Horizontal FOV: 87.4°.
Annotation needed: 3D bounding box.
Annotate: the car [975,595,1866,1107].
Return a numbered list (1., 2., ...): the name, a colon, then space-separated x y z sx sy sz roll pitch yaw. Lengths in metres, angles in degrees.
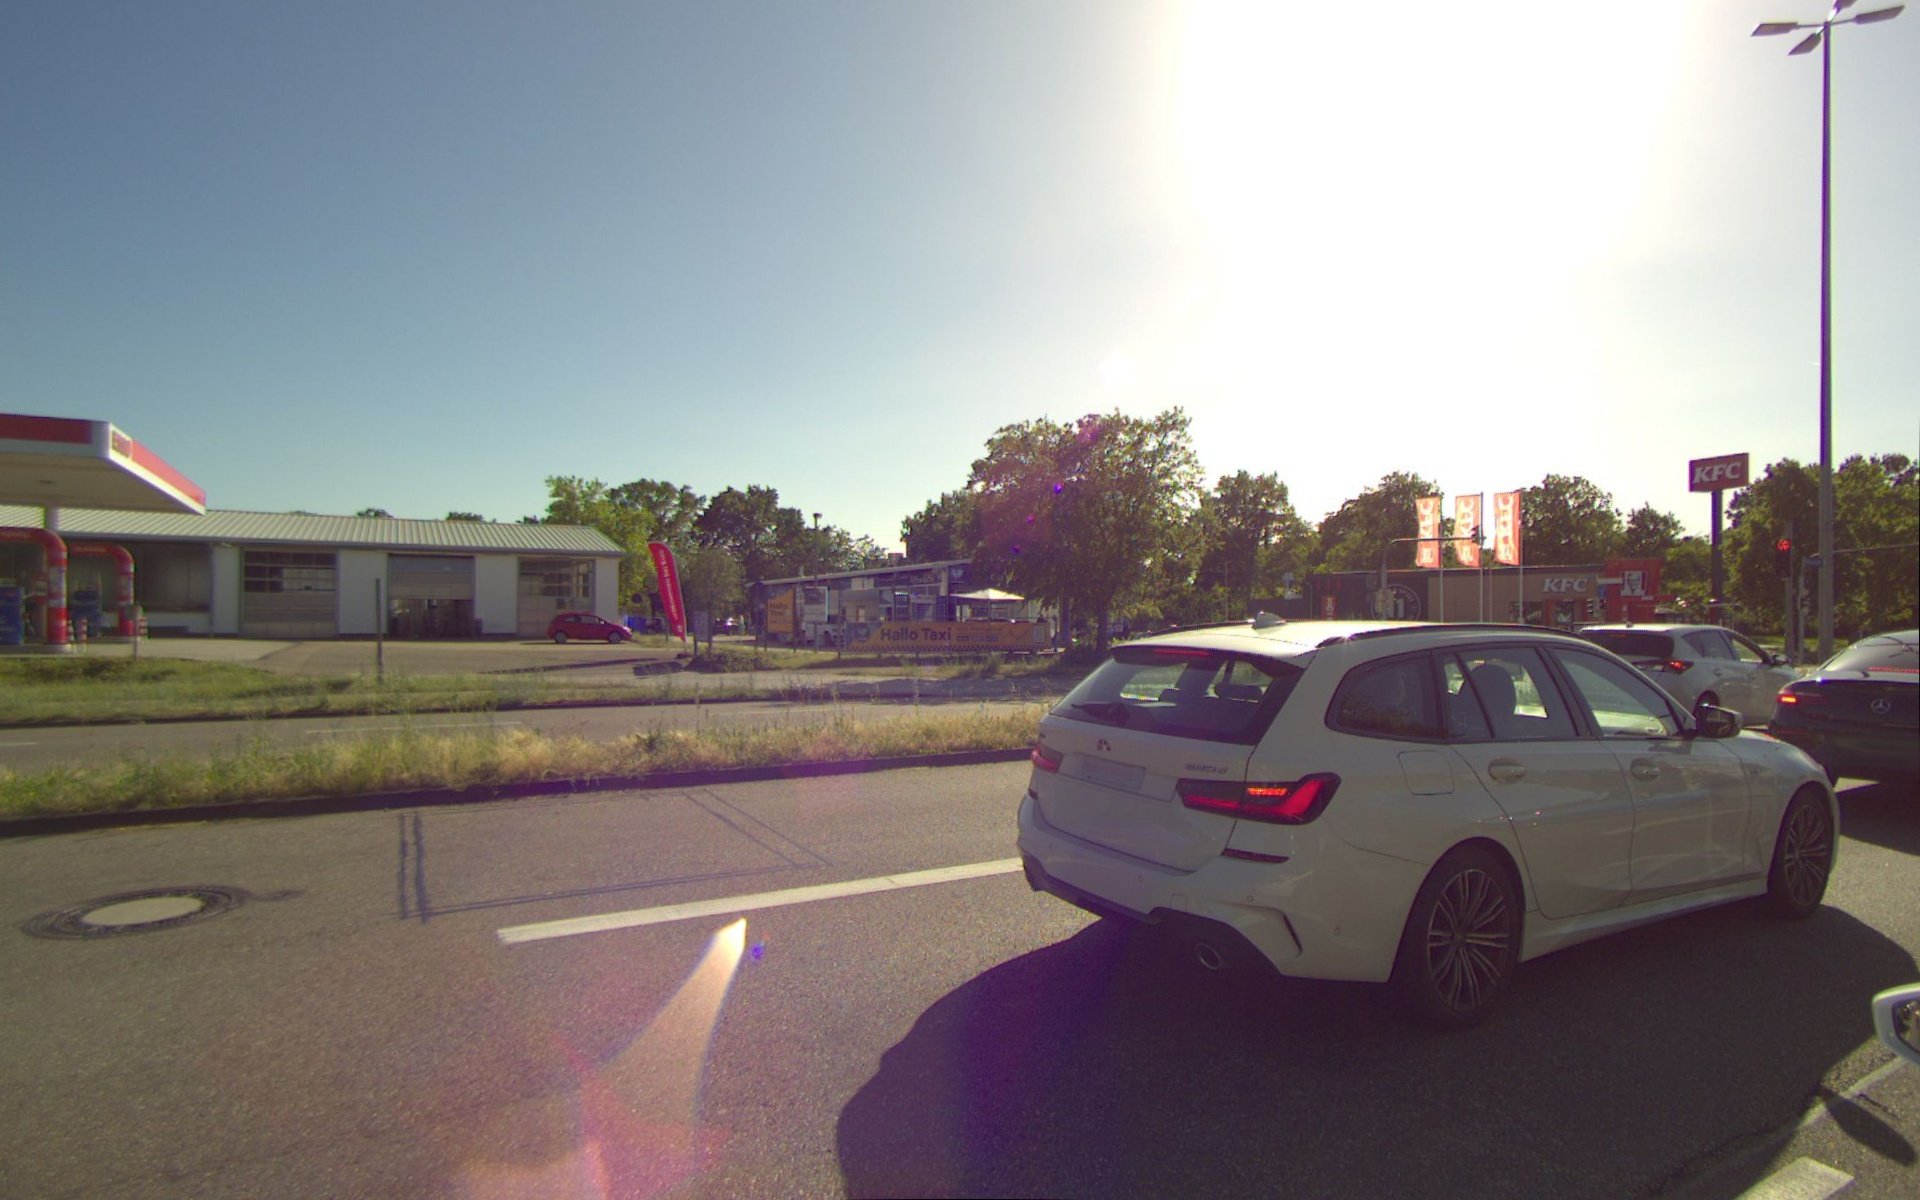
1. car: 2.406 0.794 4.894 4.409 1.529 1.760 1 -1 -30

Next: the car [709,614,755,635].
1. car: -19.955 2.133 88.244 2.085 1.840 4.000 0 -1 20

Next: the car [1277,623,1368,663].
1. car: 17.351 2.028 48.215 1.737 1.751 3.970 1 -1 -29

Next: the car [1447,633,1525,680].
1. car: 18.835 1.975 36.178 1.827 1.448 4.736 0 -1 20

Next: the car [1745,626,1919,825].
1. car: 8.784 0.962 8.615 4.409 1.433 1.760 1 -1 -30

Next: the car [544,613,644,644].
1. car: -18.041 1.418 49.539 4.486 1.458 1.741 1 -1 -26

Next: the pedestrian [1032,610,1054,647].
1. pedestrian: 4.143 1.426 50.158 0.804 1.828 0.951 1 0 -13

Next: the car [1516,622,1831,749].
1. car: 9.629 1.041 13.487 4.352 1.448 1.848 1 -1 -30

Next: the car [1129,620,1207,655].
1. car: 11.823 2.130 57.304 1.979 1.869 4.250 1 -1 -33

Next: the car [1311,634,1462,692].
1. car: 11.475 1.655 26.985 4.007 1.448 1.808 1 -3 -33

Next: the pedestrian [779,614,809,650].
1. pedestrian: -8.361 1.596 50.668 1.136 1.787 1.100 0 0 14
